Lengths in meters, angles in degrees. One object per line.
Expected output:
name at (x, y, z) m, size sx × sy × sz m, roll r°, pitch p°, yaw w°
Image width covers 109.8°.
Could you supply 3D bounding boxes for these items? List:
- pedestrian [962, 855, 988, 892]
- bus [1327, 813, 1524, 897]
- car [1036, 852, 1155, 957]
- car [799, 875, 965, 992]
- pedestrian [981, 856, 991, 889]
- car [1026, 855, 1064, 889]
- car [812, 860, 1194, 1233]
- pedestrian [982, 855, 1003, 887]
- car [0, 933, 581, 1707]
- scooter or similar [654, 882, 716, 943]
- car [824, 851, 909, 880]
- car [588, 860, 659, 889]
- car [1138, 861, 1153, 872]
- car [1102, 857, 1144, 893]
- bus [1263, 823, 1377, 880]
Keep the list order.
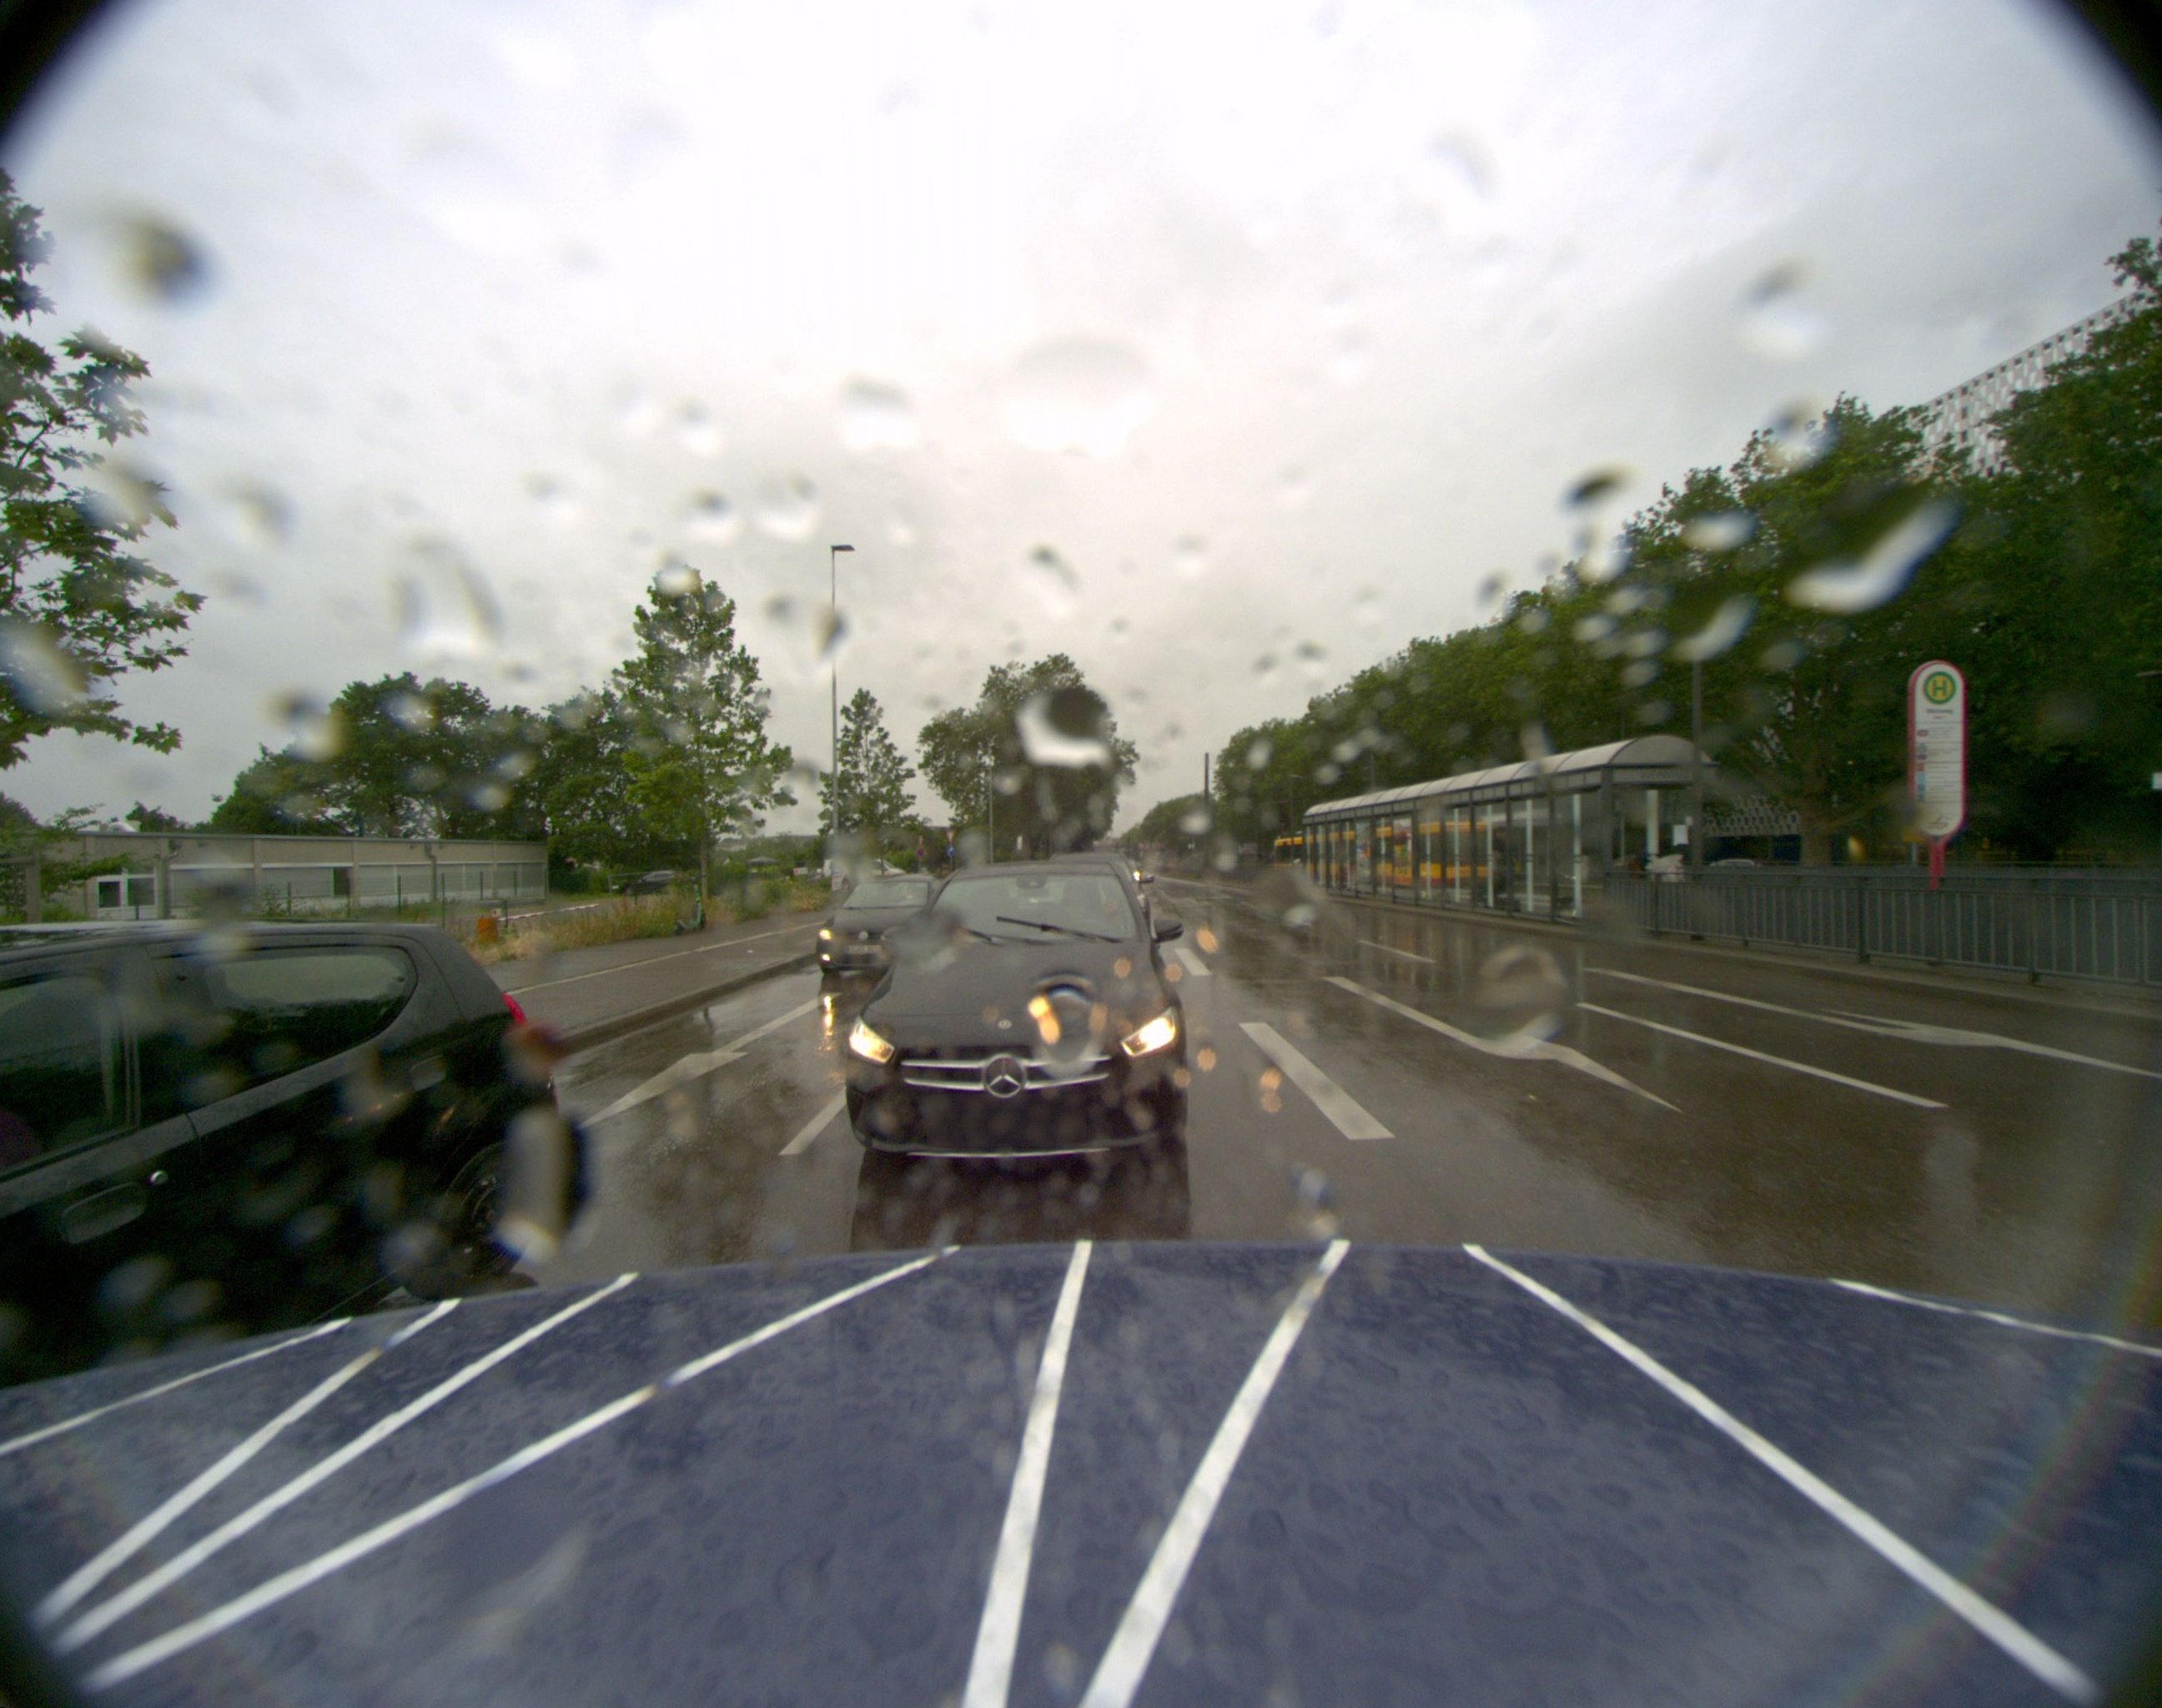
pedestrian at (-4.981, 0.908, 35.870) m, size 1.082 × 1.746 × 0.969 m, roll 0°, pitch 1°, yaw 0°
bus at (16.385, -0.038, 38.262) m, size 2.938 × 3.310 × 15.060 m, roll -2°, pitch 1°, yaw 0°
car at (0.198, 0.717, 12.510) m, size 1.633 × 1.420 × 3.624 m, roll -2°, pitch 0°, yaw 0°
car at (-2.957, 1.125, 12.057) m, size 1.633 × 1.420 × 3.624 m, roll -2°, pitch 0°, yaw 0°
pedestrian at (-4.796, 0.942, 38.395) m, size 0.401 × 1.652 × 0.441 m, roll 1°, pitch 1°, yaw 0°
car at (-1.810, 0.893, 39.662) m, size 1.698 × 1.565 × 3.813 m, roll -2°, pitch 1°, yaw 1°
car at (-0.327, 0.902, 5.562) m, size 1.690 × 1.578 × 4.163 m, roll -2°, pitch 1°, yaw 1°
pedestrian at (-4.797, 0.900, 41.342) m, size 1.025 × 1.698 × 0.891 m, roll 1°, pitch 1°, yaw 0°
car at (-2.986, 1.074, 1.446) m, size 1.633 × 1.420 × 3.624 m, roll -2°, pitch 0°, yaw 0°
scooter or similar at (-8.216, 1.177, 15.824) m, size 0.381 × 1.123 × 1.777 m, roll 0°, pitch 1°, yaw -1°
car at (-13.537, 0.701, 48.079) m, size 4.759 × 1.640 × 1.999 m, roll -2°, pitch 1°, yaw -2°
car at (-33.974, 1.511, 56.532) m, size 3.996 × 2.002 × 2.000 m, roll -2°, pitch 1°, yaw 2°
car at (8.827, 1.676, 104.273) m, size 1.766 × 1.390 × 4.645 m, roll -2°, pitch 0°, yaw 2°
car at (2.069, 0.989, 38.344) m, size 1.794 × 1.597 × 3.999 m, roll -2°, pitch 1°, yaw 0°
bus at (16.253, -0.229, 53.409) m, size 2.939 × 3.310 × 15.059 m, roll -2°, pitch 1°, yaw -1°
